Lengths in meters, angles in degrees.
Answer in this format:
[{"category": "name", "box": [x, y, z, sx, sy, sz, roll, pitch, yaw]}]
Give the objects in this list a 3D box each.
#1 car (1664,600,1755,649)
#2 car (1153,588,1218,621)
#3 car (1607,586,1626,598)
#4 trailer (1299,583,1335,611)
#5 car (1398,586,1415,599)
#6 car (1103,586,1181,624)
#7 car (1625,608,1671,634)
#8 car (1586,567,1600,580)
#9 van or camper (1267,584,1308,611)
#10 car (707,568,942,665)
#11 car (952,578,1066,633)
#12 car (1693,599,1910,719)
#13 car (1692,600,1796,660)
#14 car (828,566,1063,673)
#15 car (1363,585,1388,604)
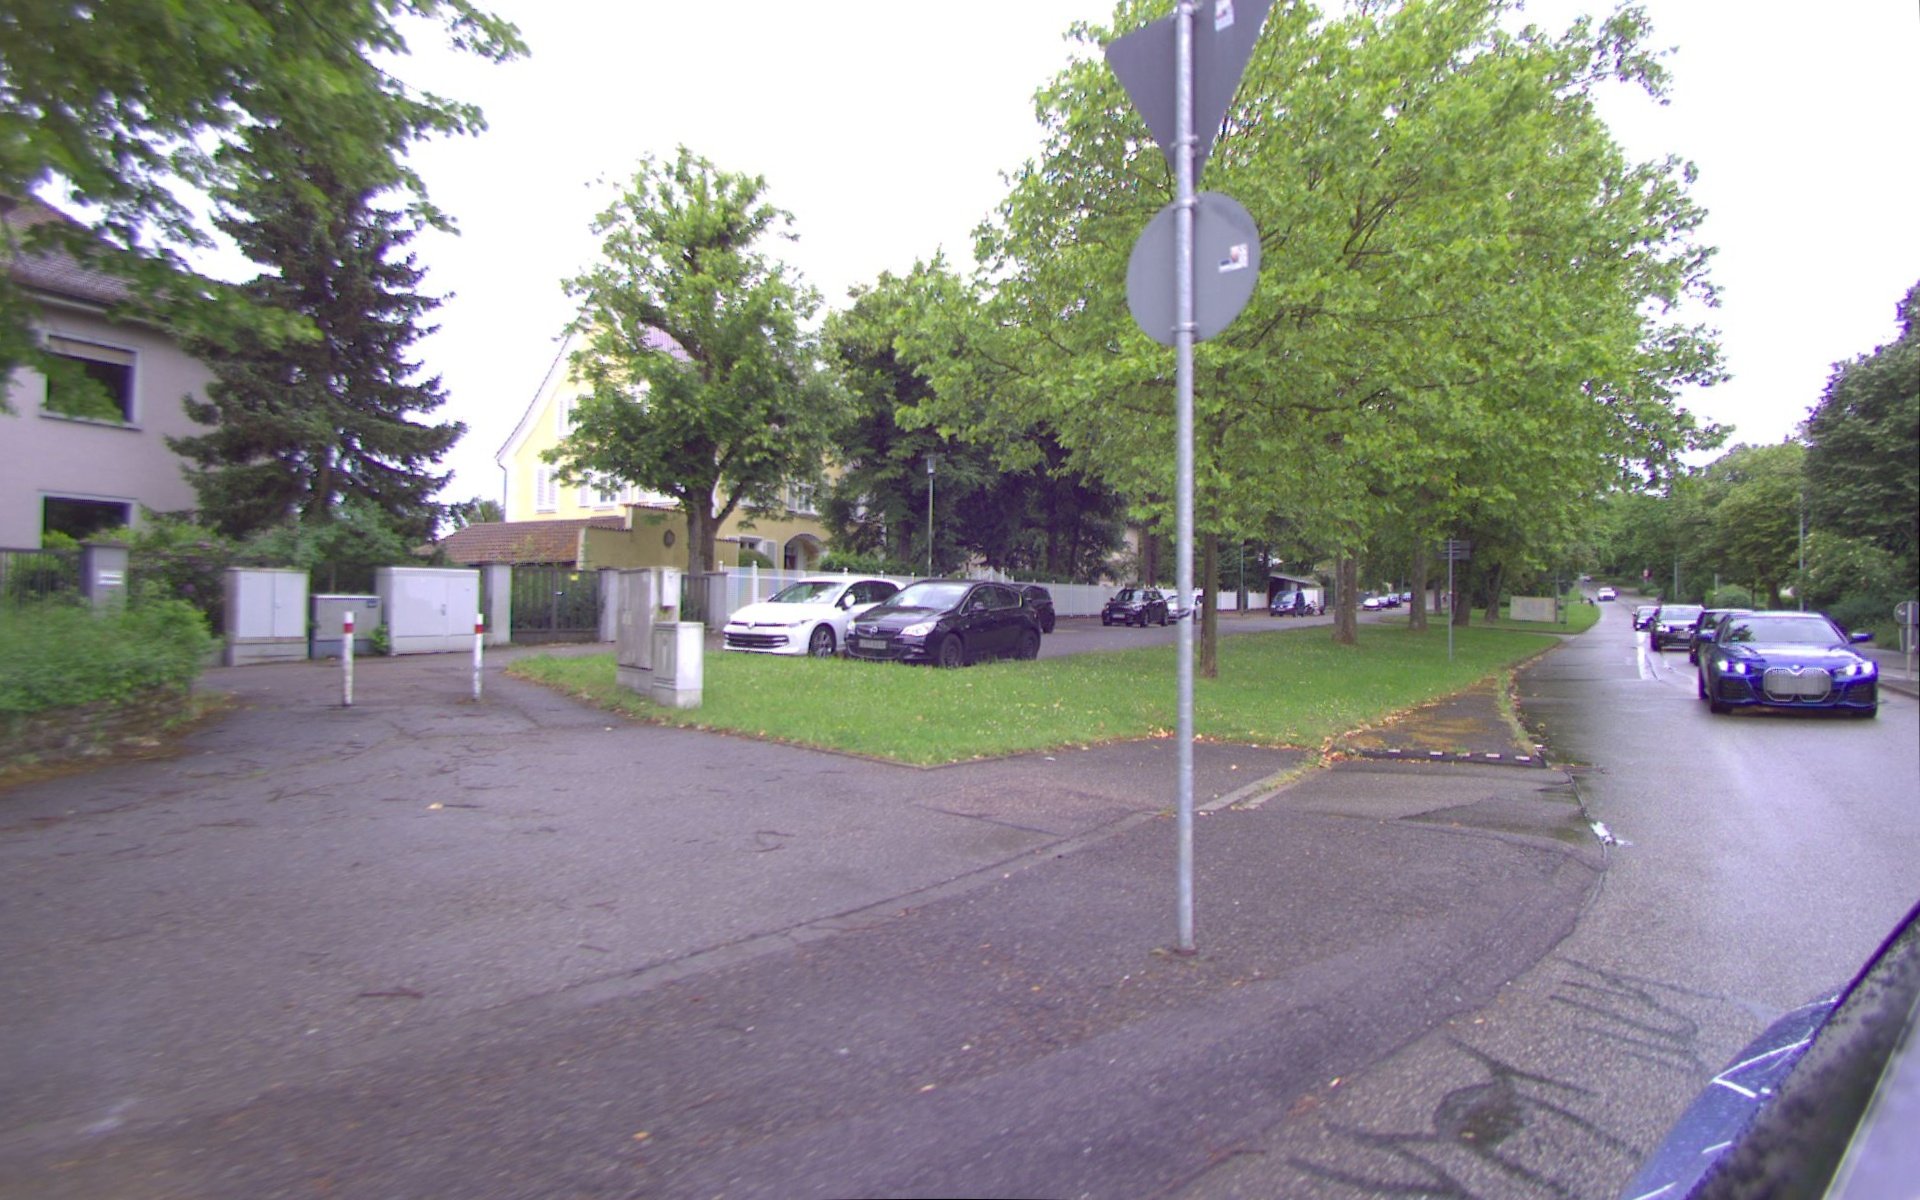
[{"category": "car", "box": [24.678, 0.772, 33.460, 2.017, 1.498, 4.022, -1, 0, 32]}, {"category": "car", "box": [10.814, 0.203, 48.294, 1.982, 1.467, 4.083, -2, 0, 29]}, {"category": "car", "box": [87.536, -1.101, 134.967, 1.816, 1.498, 4.013, -1, 0, 37]}, {"category": "trailer", "box": [27.975, -0.239, 79.231, 1.757, 2.143, 5.139, -2, 0, 29]}, {"category": "car", "box": [69.773, -1.163, 158.230, 1.983, 2.039, 3.958, 1, 1, 30]}, {"category": "car", "box": [7.552, 0.190, 41.782, 1.982, 1.490, 4.083, -2, 0, 29]}, {"category": "car", "box": [43.236, 1.321, 63.565, 1.820, 1.498, 4.006, -1, 0, 42]}, {"category": "car", "box": [117.380, -4.919, 187.658, 1.986, 2.039, 4.519, 3, 0, 33]}, {"category": "van or camper", "box": [23.056, -0.186, 71.061, 1.981, 1.831, 4.730, -2, 0, 27]}, {"category": "car", "box": [-2.246, 0.217, 18.007, 1.836, 1.489, 4.378, 1, 1, 31]}, {"category": "car", "box": [1.587, 0.148, 31.033, 1.749, 1.490, 4.313, -4, -2, 28]}, {"category": "car", "box": [12.345, 0.767, 15.128, 1.812, 1.498, 4.023, -2, 0, 31]}, {"category": "car", "box": [21.664, 0.790, 28.116, 1.812, 1.498, 4.022, -2, 0, 32]}, {"category": "car", "box": [-0.070, 0.241, 16.869, 1.756, 1.489, 4.547, 2, 2, 31]}, {"category": "car", "box": [47.565, -0.616, 115.894, 1.985, 2.039, 3.955, 1, 1, 32]}]
